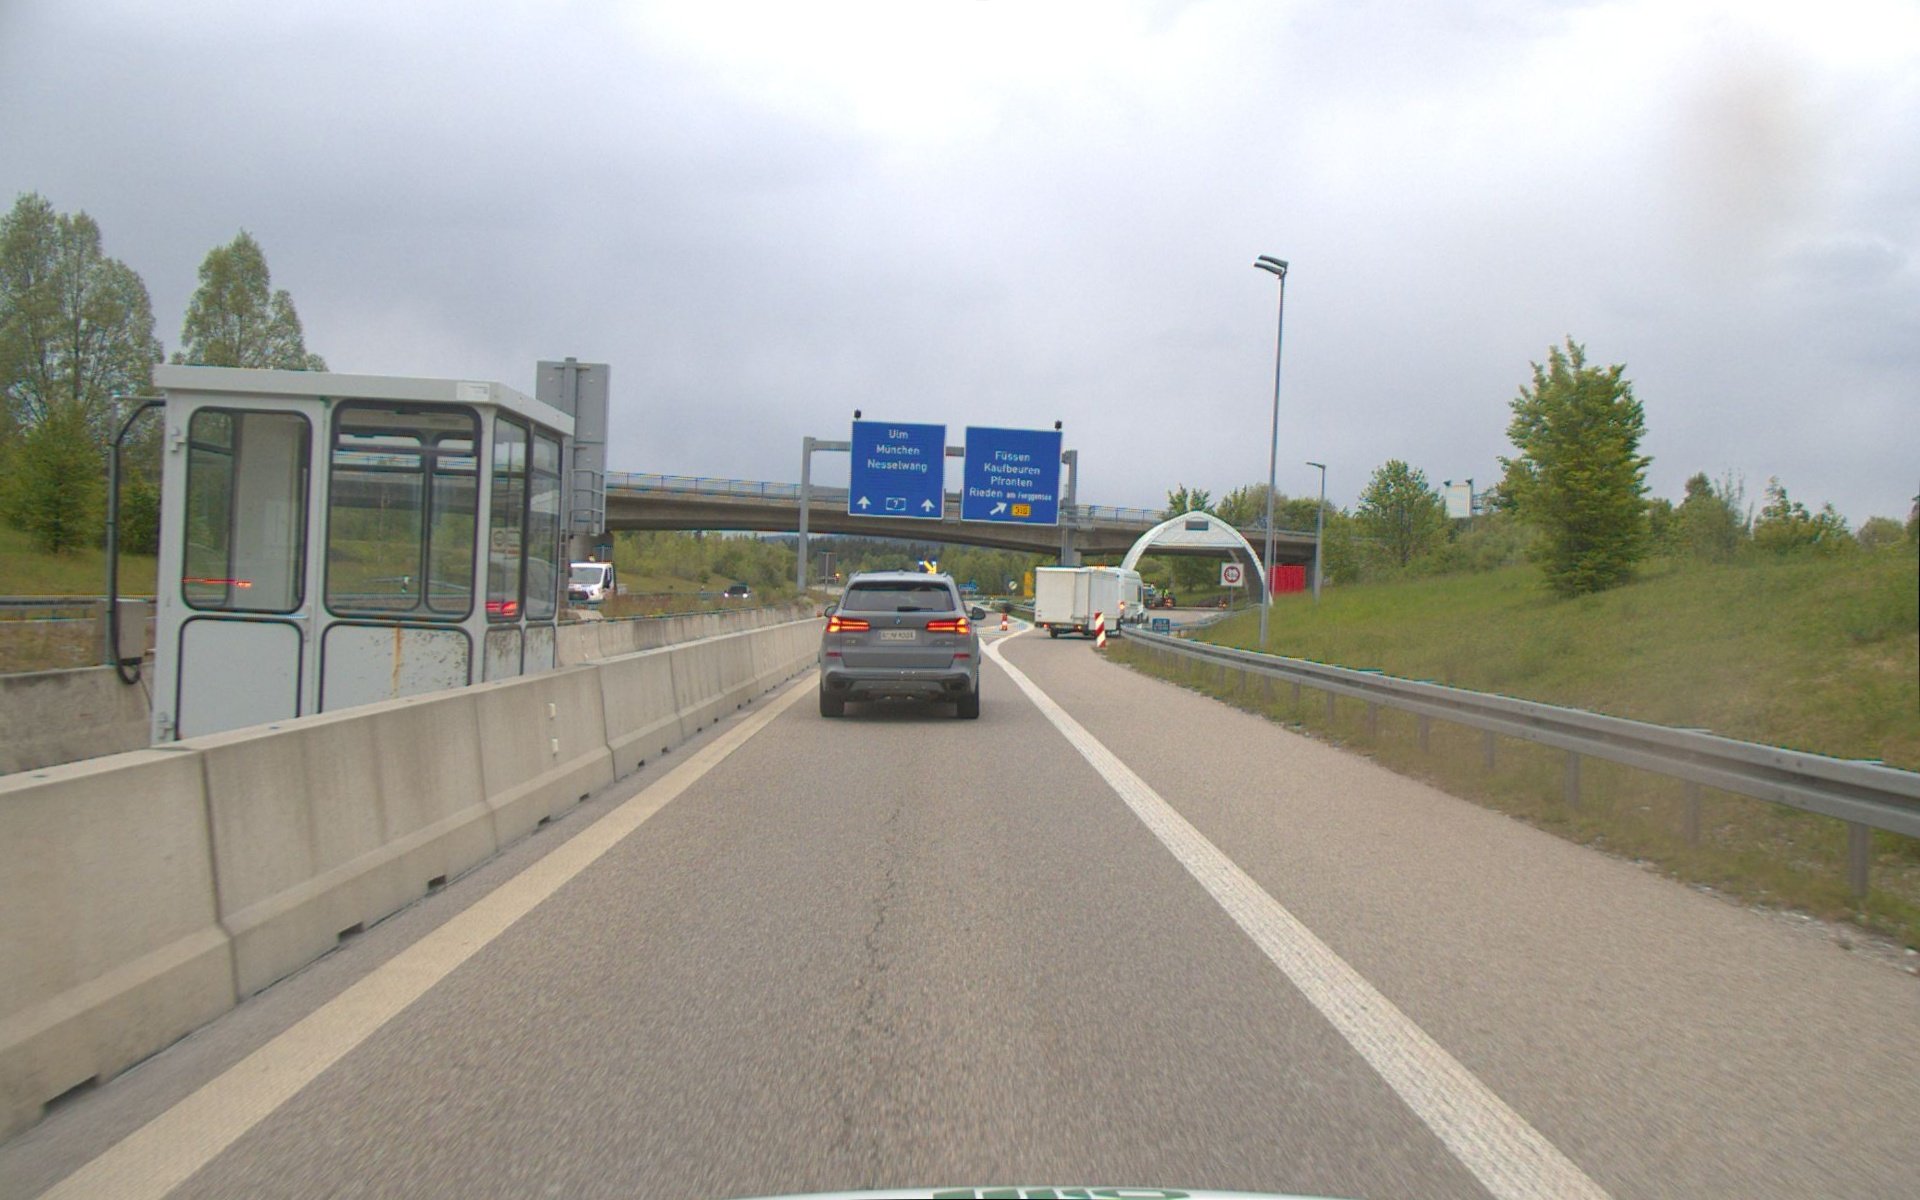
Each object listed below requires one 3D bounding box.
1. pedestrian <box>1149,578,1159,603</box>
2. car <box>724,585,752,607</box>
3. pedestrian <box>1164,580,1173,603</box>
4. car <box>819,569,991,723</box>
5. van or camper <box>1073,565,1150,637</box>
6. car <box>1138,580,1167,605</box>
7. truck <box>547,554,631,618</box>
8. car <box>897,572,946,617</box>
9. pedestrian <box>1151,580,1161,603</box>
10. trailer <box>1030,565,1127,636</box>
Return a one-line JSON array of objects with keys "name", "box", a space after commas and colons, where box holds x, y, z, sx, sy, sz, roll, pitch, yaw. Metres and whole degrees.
[{"name": "pedestrian", "box": [15.085, -0.749, 128.604, 0.705, 1.979, 0.690, 0, 0, 3]}, {"name": "car", "box": [-16.029, -0.288, 119.705, 1.575, 1.527, 3.837, 1, 0, -1]}, {"name": "pedestrian", "box": [16.217, -0.665, 128.618, 0.634, 1.806, 0.606, 0, 0, 1]}, {"name": "car", "box": [-0.656, 0.522, 21.087, 1.953, 1.749, 3.999, 1, 0, -1]}, {"name": "van or camper", "box": [6.258, 0.065, 67.729, 2.111, 2.812, 5.875, 1, 0, 15]}, {"name": "car", "box": [14.536, -0.572, 125.242, 1.952, 1.803, 3.767, 0, 0, 3]}, {"name": "truck", "box": [-15.689, -0.580, 70.319, 2.309, 2.522, 5.987, 2, 0, -1]}, {"name": "car", "box": [-1.864, -0.296, 79.513, 2.240, 2.049, 5.048, 1, 1, -2]}, {"name": "pedestrian", "box": [15.110, -0.647, 127.643, 0.705, 1.806, 0.690, 0, 0, 3]}, {"name": "trailer", "box": [4.489, 0.043, 61.606, 2.231, 2.473, 6.821, 1, 0, 16]}]
